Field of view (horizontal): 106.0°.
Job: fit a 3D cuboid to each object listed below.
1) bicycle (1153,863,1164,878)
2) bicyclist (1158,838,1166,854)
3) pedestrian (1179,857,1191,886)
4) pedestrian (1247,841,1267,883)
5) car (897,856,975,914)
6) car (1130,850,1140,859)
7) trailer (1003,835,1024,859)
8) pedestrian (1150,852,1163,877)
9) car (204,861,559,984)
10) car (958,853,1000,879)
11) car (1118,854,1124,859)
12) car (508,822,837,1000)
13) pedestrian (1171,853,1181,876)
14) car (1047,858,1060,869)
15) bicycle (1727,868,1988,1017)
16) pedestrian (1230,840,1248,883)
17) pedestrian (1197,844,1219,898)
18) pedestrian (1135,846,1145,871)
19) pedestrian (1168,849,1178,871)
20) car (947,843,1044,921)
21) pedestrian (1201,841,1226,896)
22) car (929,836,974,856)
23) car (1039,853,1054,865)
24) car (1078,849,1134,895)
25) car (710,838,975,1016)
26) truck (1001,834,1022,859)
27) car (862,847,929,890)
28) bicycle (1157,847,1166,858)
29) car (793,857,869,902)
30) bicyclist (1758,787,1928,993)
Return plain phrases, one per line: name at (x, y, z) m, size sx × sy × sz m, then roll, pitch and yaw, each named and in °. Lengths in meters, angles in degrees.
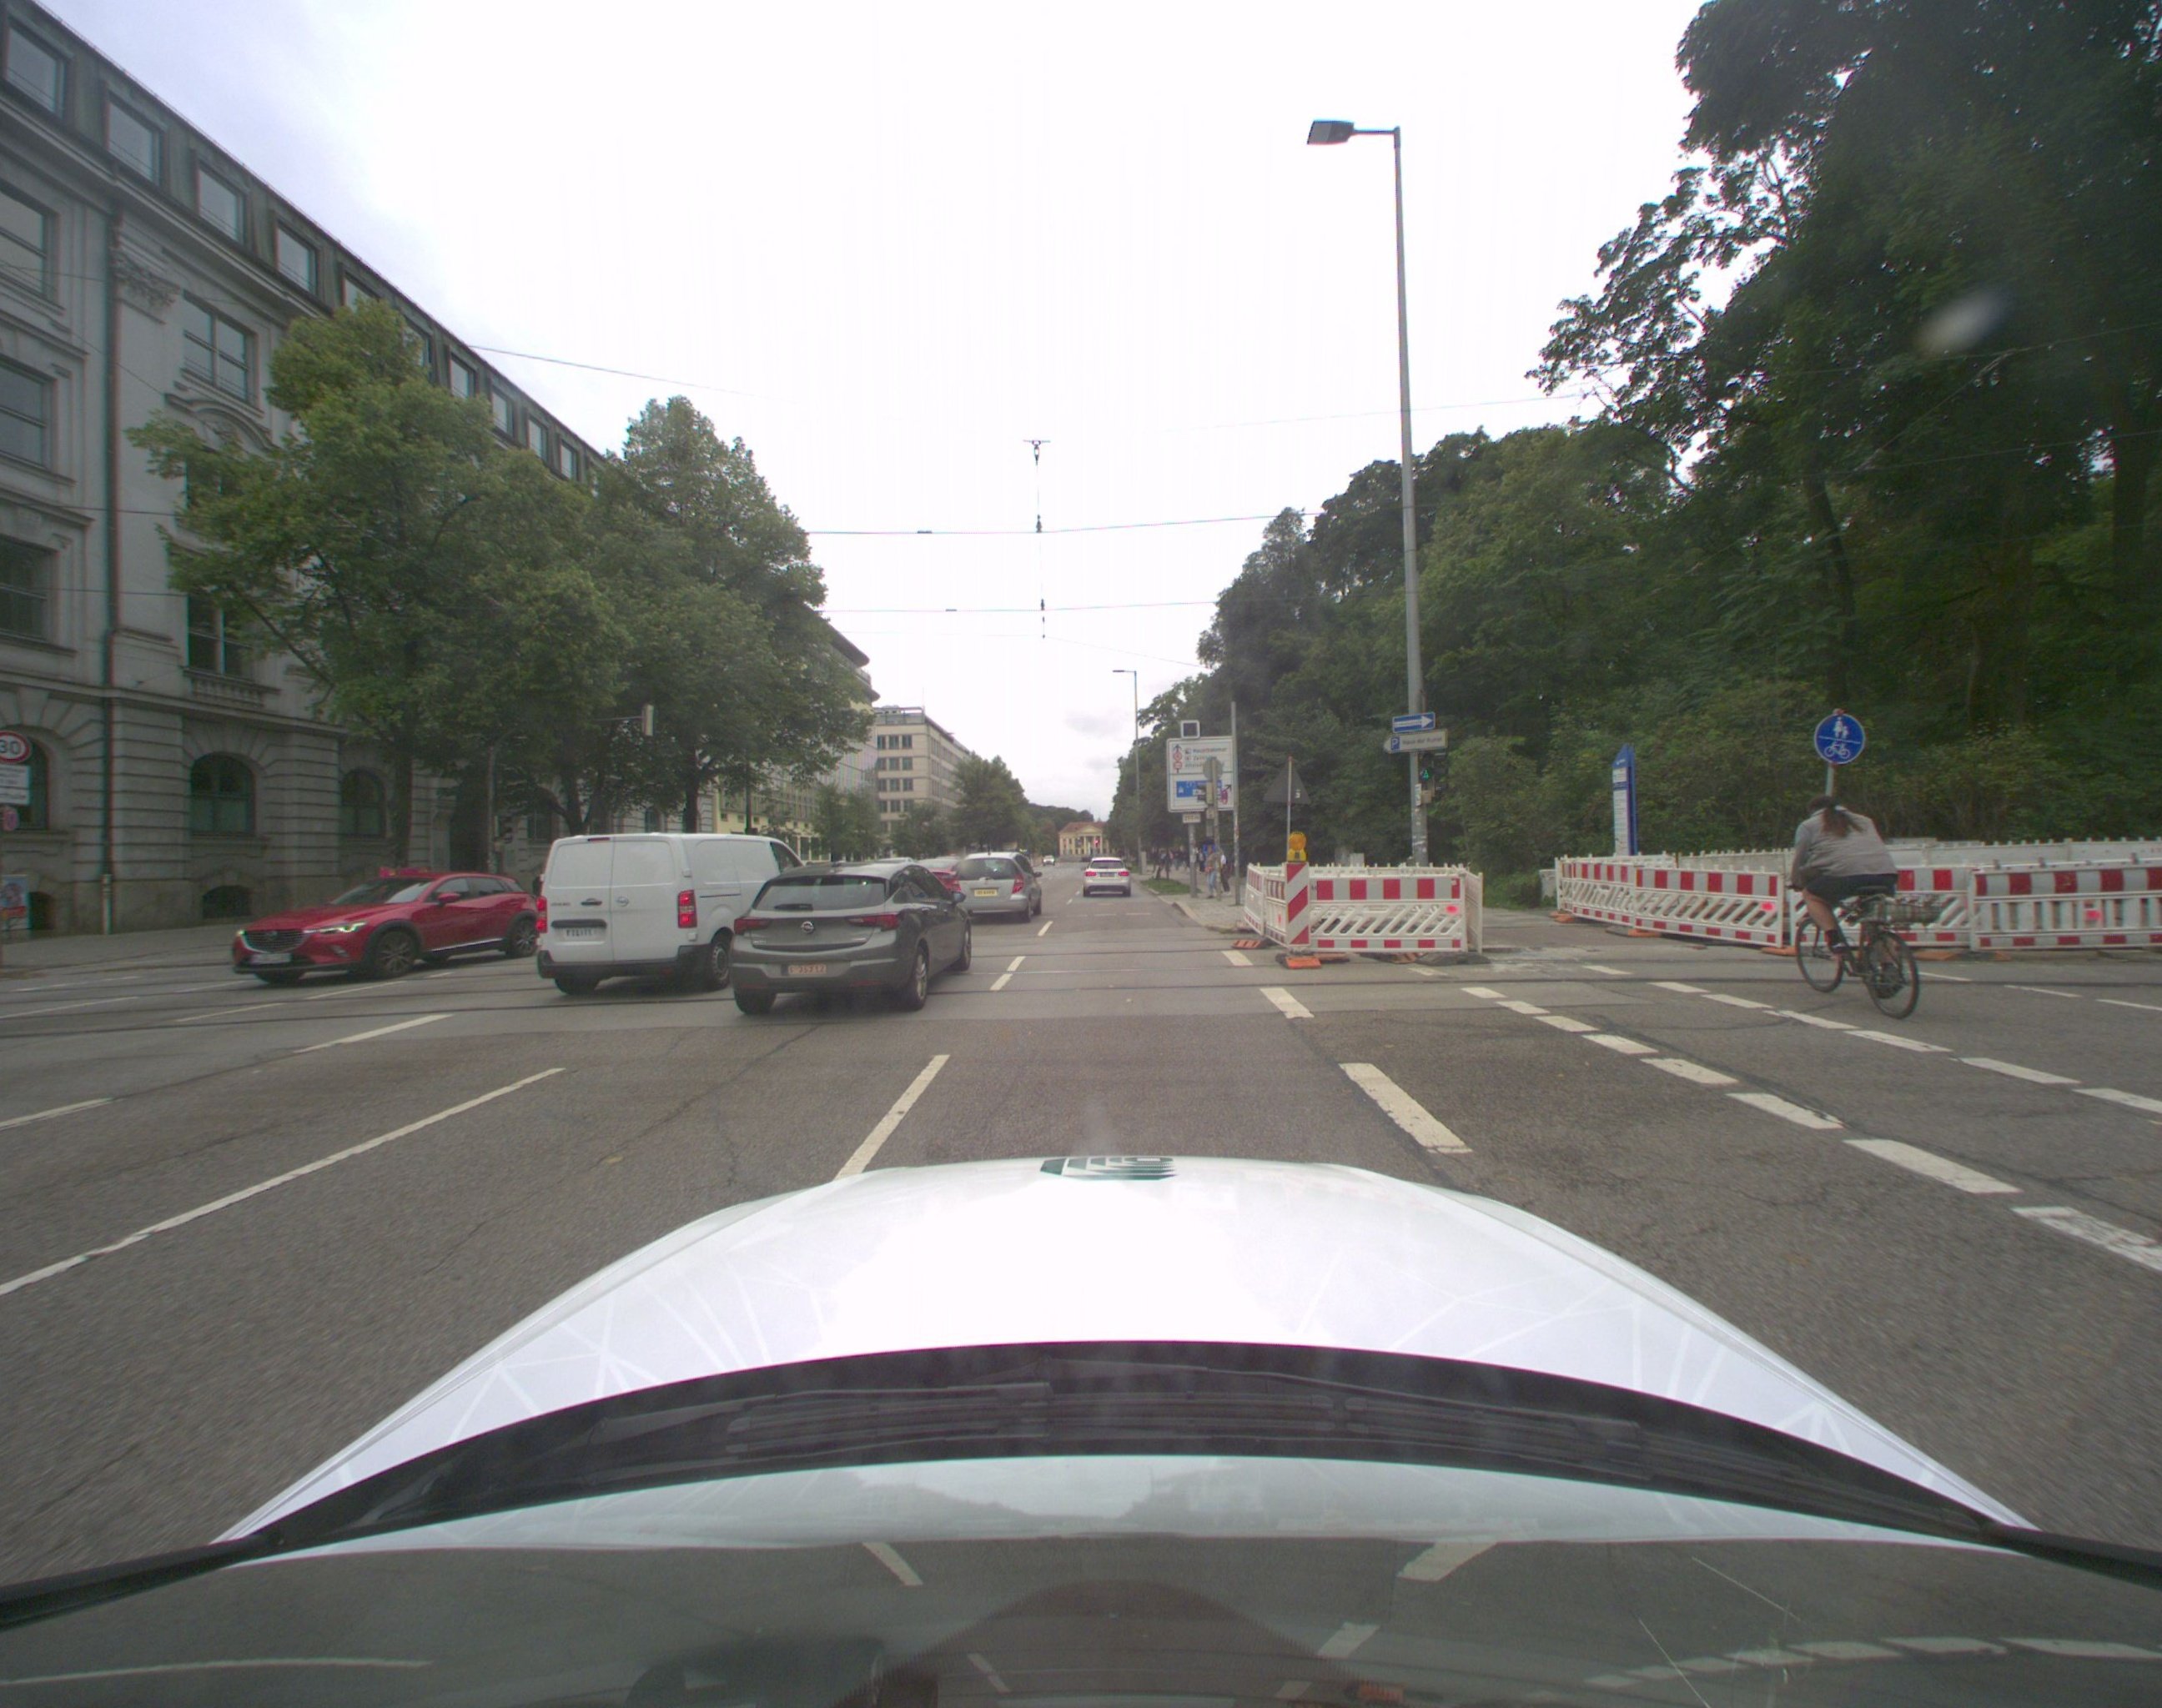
bicycle at (4.268, 0.892, 45.165) m, size 0.491 × 0.794 × 1.890 m, roll 0°, pitch 0°, yaw 2°
bicyclist at (7.723, -0.745, 77.988) m, size 0.705 × 1.562 × 0.639 m, roll 0°, pitch 0°, yaw 1°
pedestrian at (7.101, 1.194, 55.838) m, size 0.705 × 1.915 × 0.957 m, roll 0°, pitch 0°, yaw 1°
pedestrian at (7.677, 0.339, 35.594) m, size 0.748 × 1.839 × 0.757 m, roll 0°, pitch 0°, yaw 2°
car at (-4.510, 0.915, 25.847) m, size 1.774 × 1.654 × 3.999 m, roll 0°, pitch 0°, yaw -1°
car at (10.371, 0.120, 157.448) m, size 1.820 × 1.549 × 4.754 m, roll -2°, pitch 0°, yaw 2°
trailer at (-10.837, -1.138, 131.698) m, size 2.942 × 3.740 × 11.760 m, roll 0°, pitch 0°, yaw -2°
pedestrian at (5.751, 0.765, 62.136) m, size 0.795 × 1.881 × 0.547 m, roll 0°, pitch 0°, yaw 37°
car at (-10.450, 0.906, 12.696) m, size 1.746 × 1.530 × 4.229 m, roll -1°, pitch 0°, yaw 2°
car at (-6.275, 0.708, 50.505) m, size 1.760 × 1.423 × 4.749 m, roll -3°, pitch 0°, yaw 2°
car at (11.927, 0.655, 242.022) m, size 1.717 × 1.323 × 4.031 m, roll -1°, pitch 3°, yaw 2°
car at (-5.115, 0.616, 11.190) m, size 1.891 × 1.847 × 4.957 m, roll -2°, pitch 0°, yaw 1°
pedestrian at (7.608, 0.820, 65.006) m, size 0.705 × 1.808 × 0.950 m, roll 0°, pitch 0°, yaw 1°
car at (-4.520, 1.486, 132.120) m, size 1.813 × 1.728 × 3.883 m, roll 0°, pitch 0°, yaw 2°
bicycle at (6.631, 0.671, 7.146) m, size 0.732 × 1.058 × 2.172 m, roll 0°, pitch 0°, yaw 16°
pedestrian at (6.911, 0.320, 35.588) m, size 0.668 × 1.839 × 0.641 m, roll 0°, pitch 0°, yaw 2°
pedestrian at (4.224, 0.566, 27.135) m, size 0.622 × 1.761 × 0.635 m, roll -1°, pitch -1°, yaw -1°
pedestrian at (4.318, 0.302, 59.792) m, size 0.705 × 1.808 × 0.639 m, roll 0°, pitch 0°, yaw 1°
pedestrian at (7.478, 0.499, 66.118) m, size 0.705 × 1.808 × 0.639 m, roll 0°, pitch 0°, yaw 1°
car at (-1.900, 0.595, 19.283) m, size 1.773 × 1.654 × 4.001 m, roll 0°, pitch 0°, yaw 1°
pedestrian at (4.281, 0.466, 26.376) m, size 0.608 × 1.761 × 0.634 m, roll -2°, pitch 0°, yaw -6°
car at (-17.215, -1.062, 108.755) m, size 5.667 × 2.536 × 2.154 m, roll -2°, pitch 0°, yaw -3°
car at (-5.453, 0.752, 128.456) m, size 1.850 × 1.748 × 4.632 m, roll -3°, pitch 0°, yaw 2°
car at (0.897, 0.652, 31.221) m, size 1.775 × 1.644 × 3.995 m, roll 0°, pitch 0°, yaw -3°
car at (-2.350, 0.639, 9.133) m, size 1.704 × 1.552 × 4.001 m, roll 0°, pitch 0°, yaw 1°
truck at (-10.558, -1.122, 124.328) m, size 2.909 × 3.774 × 7.659 m, roll 0°, pitch 0°, yaw -2°
car at (-7.380, 0.543, 32.688) m, size 1.628 × 1.571 × 3.947 m, roll -2°, pitch 0°, yaw 2°
bicycle at (7.717, -0.139, 77.987) m, size 0.672 × 1.030 × 2.013 m, roll 0°, pitch 0°, yaw 2°
car at (-10.130, 0.994, 33.289) m, size 1.738 × 1.596 × 4.000 m, roll -3°, pitch 0°, yaw 0°
bicyclist at (6.615, 0.288, 7.127) m, size 0.751 × 1.667 × 0.903 m, roll 0°, pitch 0°, yaw 16°
